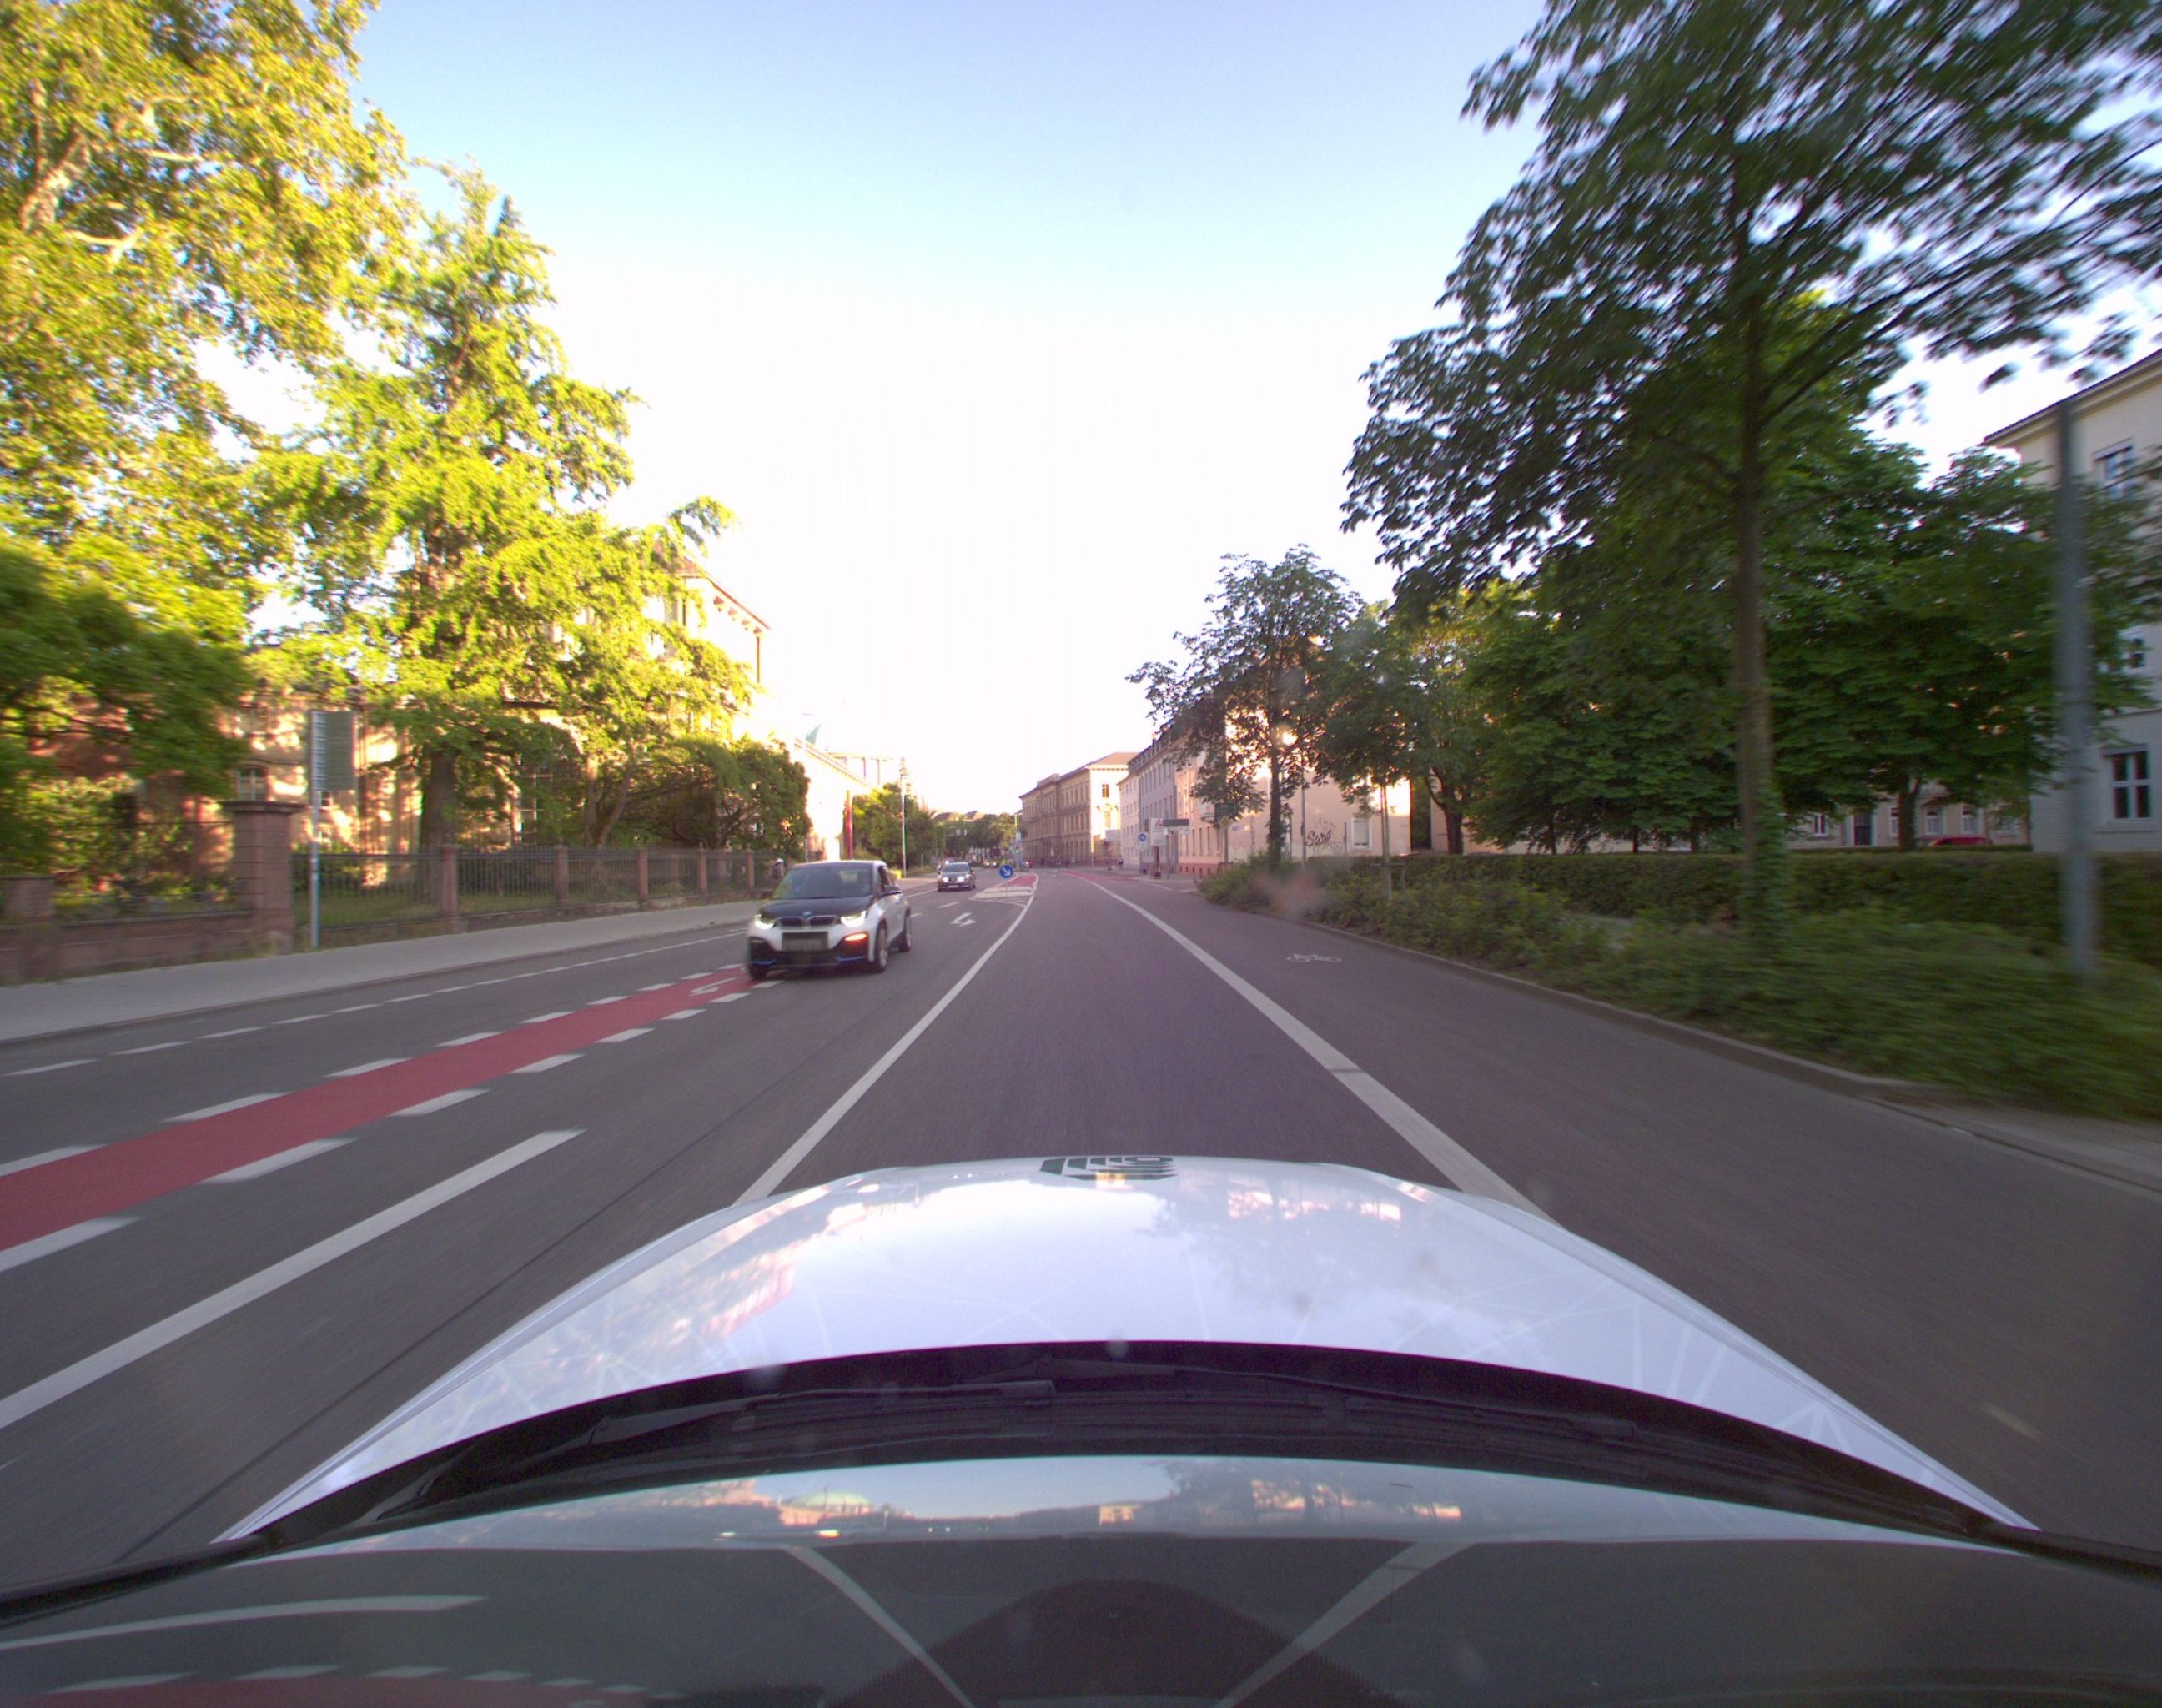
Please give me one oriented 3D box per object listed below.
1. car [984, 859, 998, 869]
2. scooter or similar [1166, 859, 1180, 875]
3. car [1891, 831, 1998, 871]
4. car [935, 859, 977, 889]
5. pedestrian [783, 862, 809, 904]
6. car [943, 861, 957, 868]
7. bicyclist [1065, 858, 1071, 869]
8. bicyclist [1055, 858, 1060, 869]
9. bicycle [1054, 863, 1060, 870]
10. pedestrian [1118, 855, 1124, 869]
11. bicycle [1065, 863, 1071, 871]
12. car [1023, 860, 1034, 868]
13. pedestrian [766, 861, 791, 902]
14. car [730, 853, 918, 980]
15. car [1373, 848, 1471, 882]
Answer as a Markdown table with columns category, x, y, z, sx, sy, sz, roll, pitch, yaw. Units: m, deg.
| category | x | y | z | sx | sy | sz | roll | pitch | yaw |
| --- | --- | --- | --- | --- | --- | --- | --- | --- | --- |
| car | -15.436 | 1.740 | 139.591 | 1.997 | 1.585 | 3.980 | -1 | 0 | -14 |
| scooter or similar | 8.038 | 1.119 | 71.284 | 0.629 | 1.337 | 2.394 | -1 | 0 | -7 |
| car | 51.862 | -0.173 | 48.982 | 4.223 | 2.139 | 1.872 | -3 | -1 | 3 |
| car | -6.473 | 1.008 | 42.594 | 1.832 | 1.439 | 3.993 | -3 | 0 | -5 |
| pedestrian | -11.233 | 1.146 | 32.109 | 0.676 | 1.622 | 0.691 | -1 | 0 | 14 |
| car | -27.820 | 2.216 | 173.370 | 2.003 | 1.585 | 3.968 | -1 | -1 | -24 |
| bicyclist | -1.819 | 1.325 | 112.300 | 0.649 | 1.475 | 0.941 | 1 | 0 | 3 |
| bicyclist | -3.261 | 1.307 | 112.420 | 0.649 | 1.446 | 0.880 | 1 | 0 | 3 |
| bicycle | -3.271 | 1.713 | 112.359 | 0.649 | 1.015 | 2.200 | 1 | 0 | 3 |
| pedestrian | 5.056 | 1.029 | 102.972 | 0.758 | 1.755 | 0.845 | -1 | -1 | 3 |
| bicycle | -1.819 | 1.745 | 112.350 | 0.649 | 1.015 | 2.200 | 1 | 0 | 3 |
| car | -9.248 | 1.753 | 142.389 | 1.864 | 1.510 | 3.994 | 0 | -1 | -4 |
| pedestrian | -11.980 | 1.081 | 32.266 | 0.677 | 1.622 | 0.690 | -1 | 0 | 6 |
| car | -3.651 | 0.796 | 12.321 | 1.846 | 1.526 | 3.992 | -2 | 0 | -5 |
| car | 17.567 | 0.561 | 42.101 | 4.225 | 1.481 | 1.872 | -3 | -1 | 2 |
